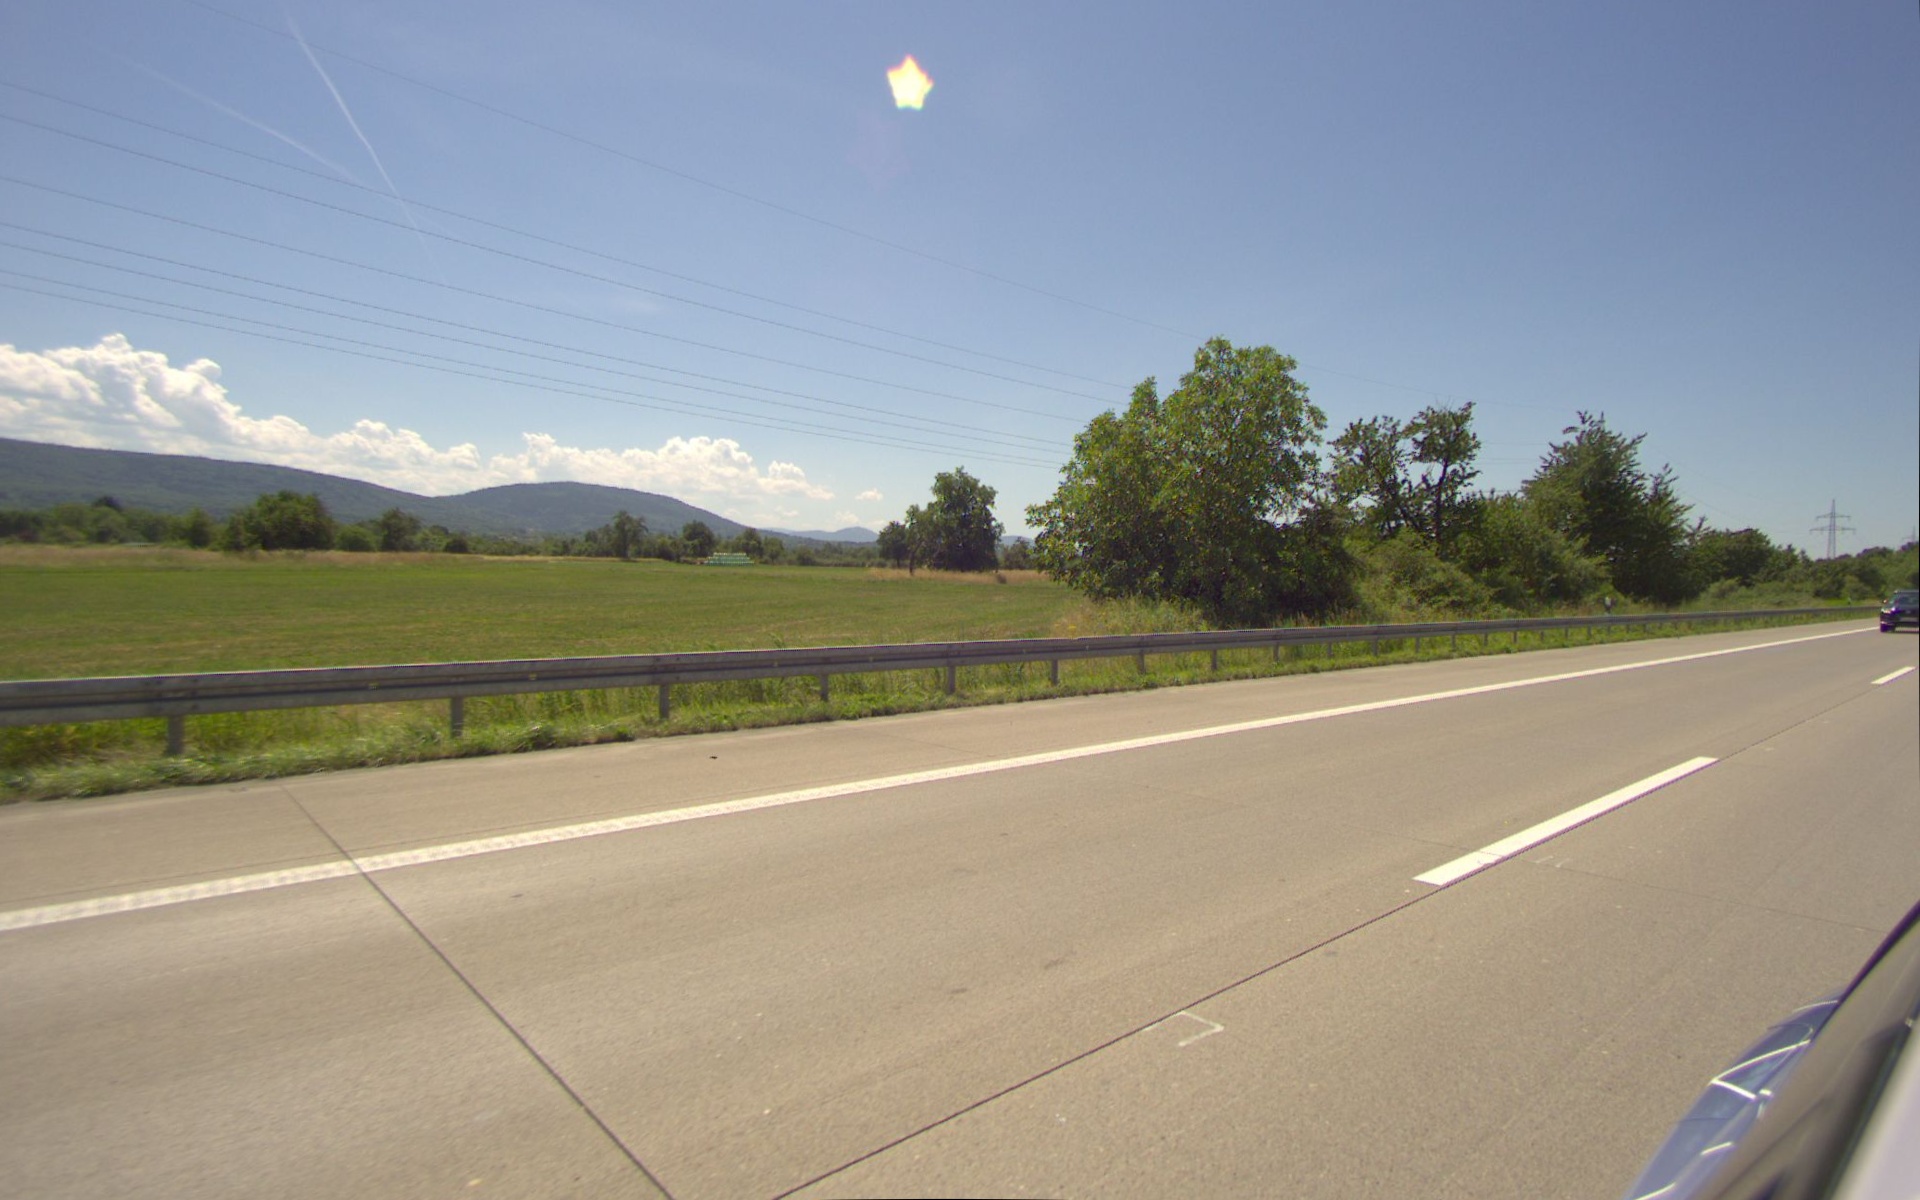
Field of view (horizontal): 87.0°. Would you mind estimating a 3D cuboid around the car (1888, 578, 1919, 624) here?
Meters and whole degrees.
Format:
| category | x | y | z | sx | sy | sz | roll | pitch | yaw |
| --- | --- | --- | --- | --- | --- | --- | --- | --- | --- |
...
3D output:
| category | x | y | z | sx | sy | sz | roll | pitch | yaw |
| --- | --- | --- | --- | --- | --- | --- | --- | --- | --- |
| car | 39.034 | 0.038 | 40.726 | 3.929 | 1.805 | 1.998 | 0 | 1 | -40 |
